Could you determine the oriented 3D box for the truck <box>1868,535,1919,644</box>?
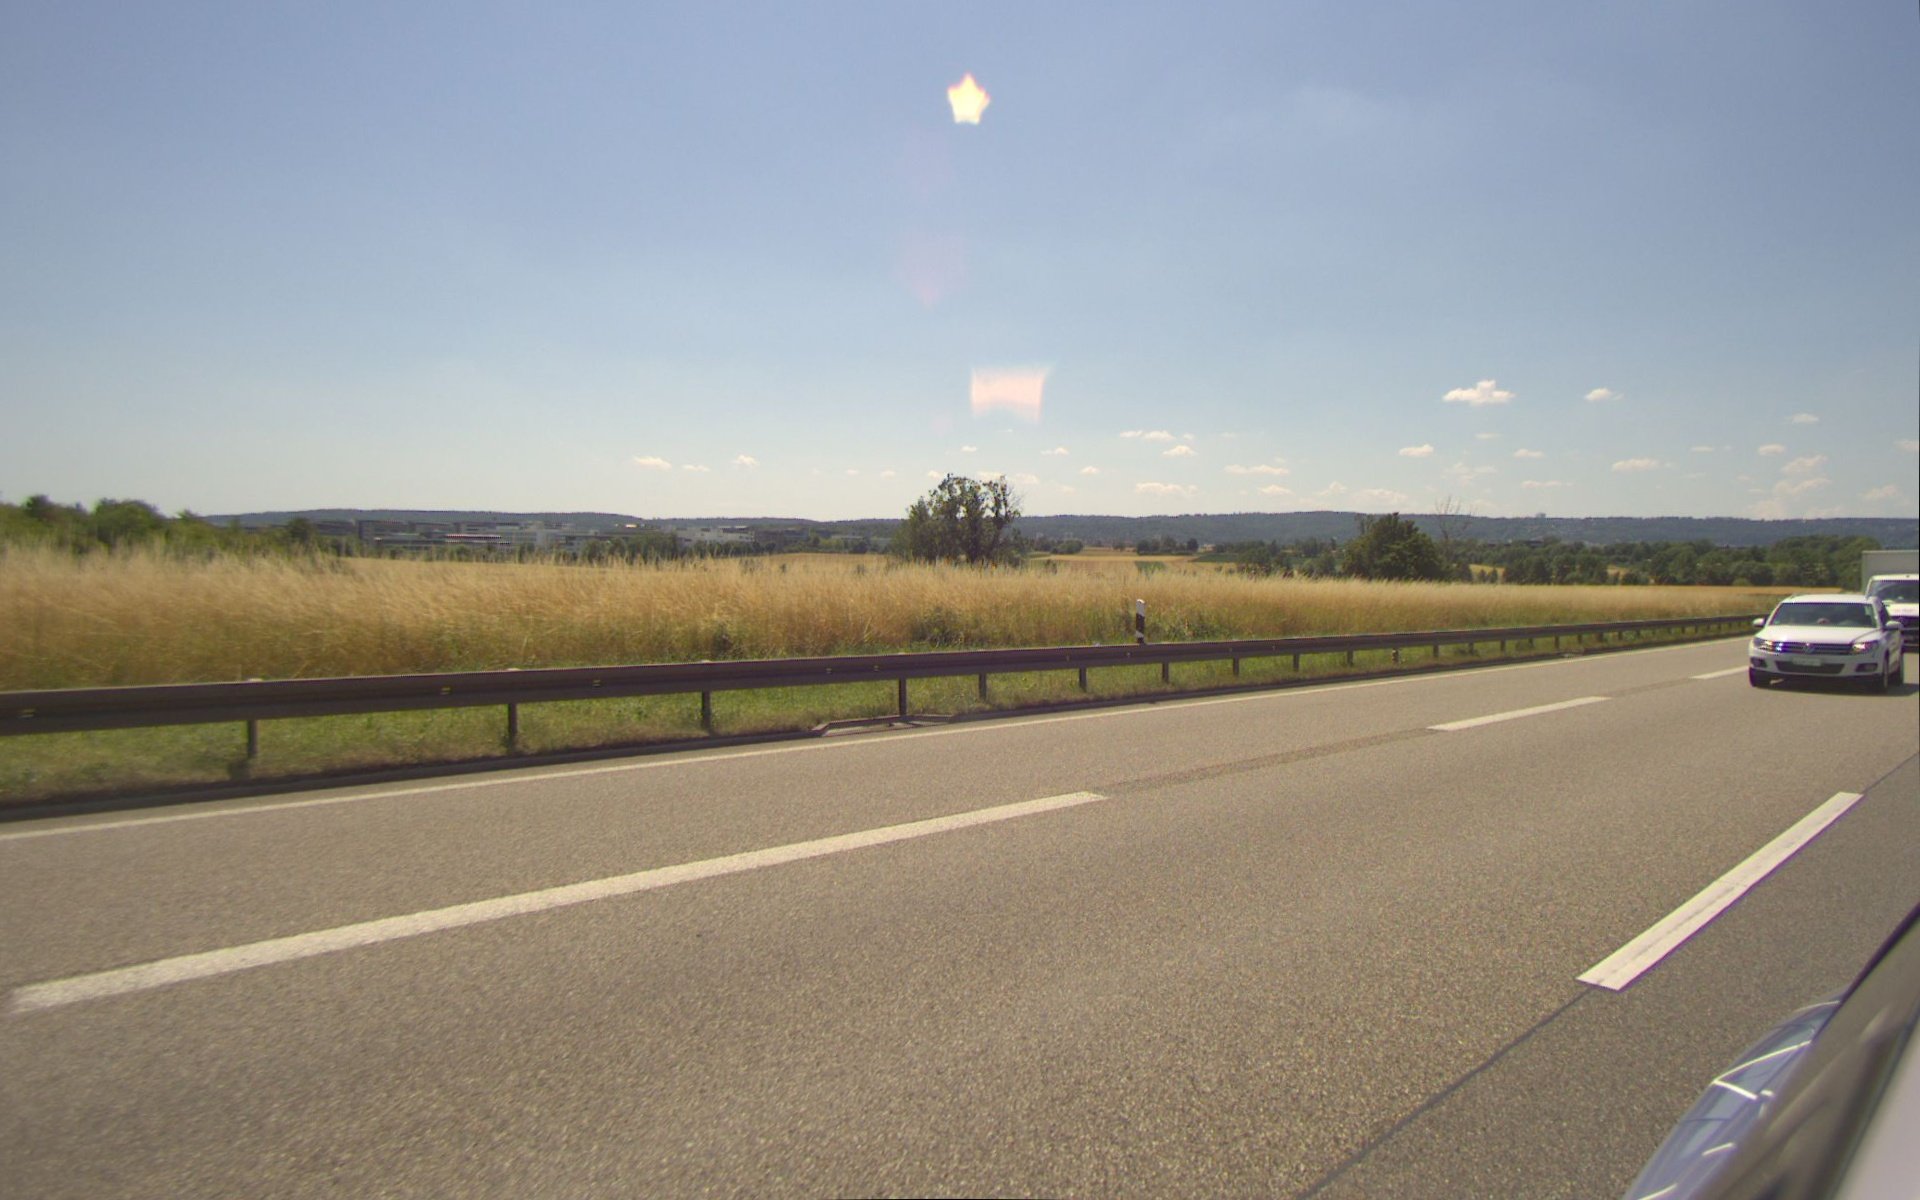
[{"bbox_3d":[29.531,-0.317,30.899,2.439,3.066,6.806,0,0,44],"label":"truck"}]

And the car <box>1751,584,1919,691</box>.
[{"bbox_3d":[15.558,0.576,17.913,4.102,1.666,1.834,0,0,-43],"label":"car"}]
